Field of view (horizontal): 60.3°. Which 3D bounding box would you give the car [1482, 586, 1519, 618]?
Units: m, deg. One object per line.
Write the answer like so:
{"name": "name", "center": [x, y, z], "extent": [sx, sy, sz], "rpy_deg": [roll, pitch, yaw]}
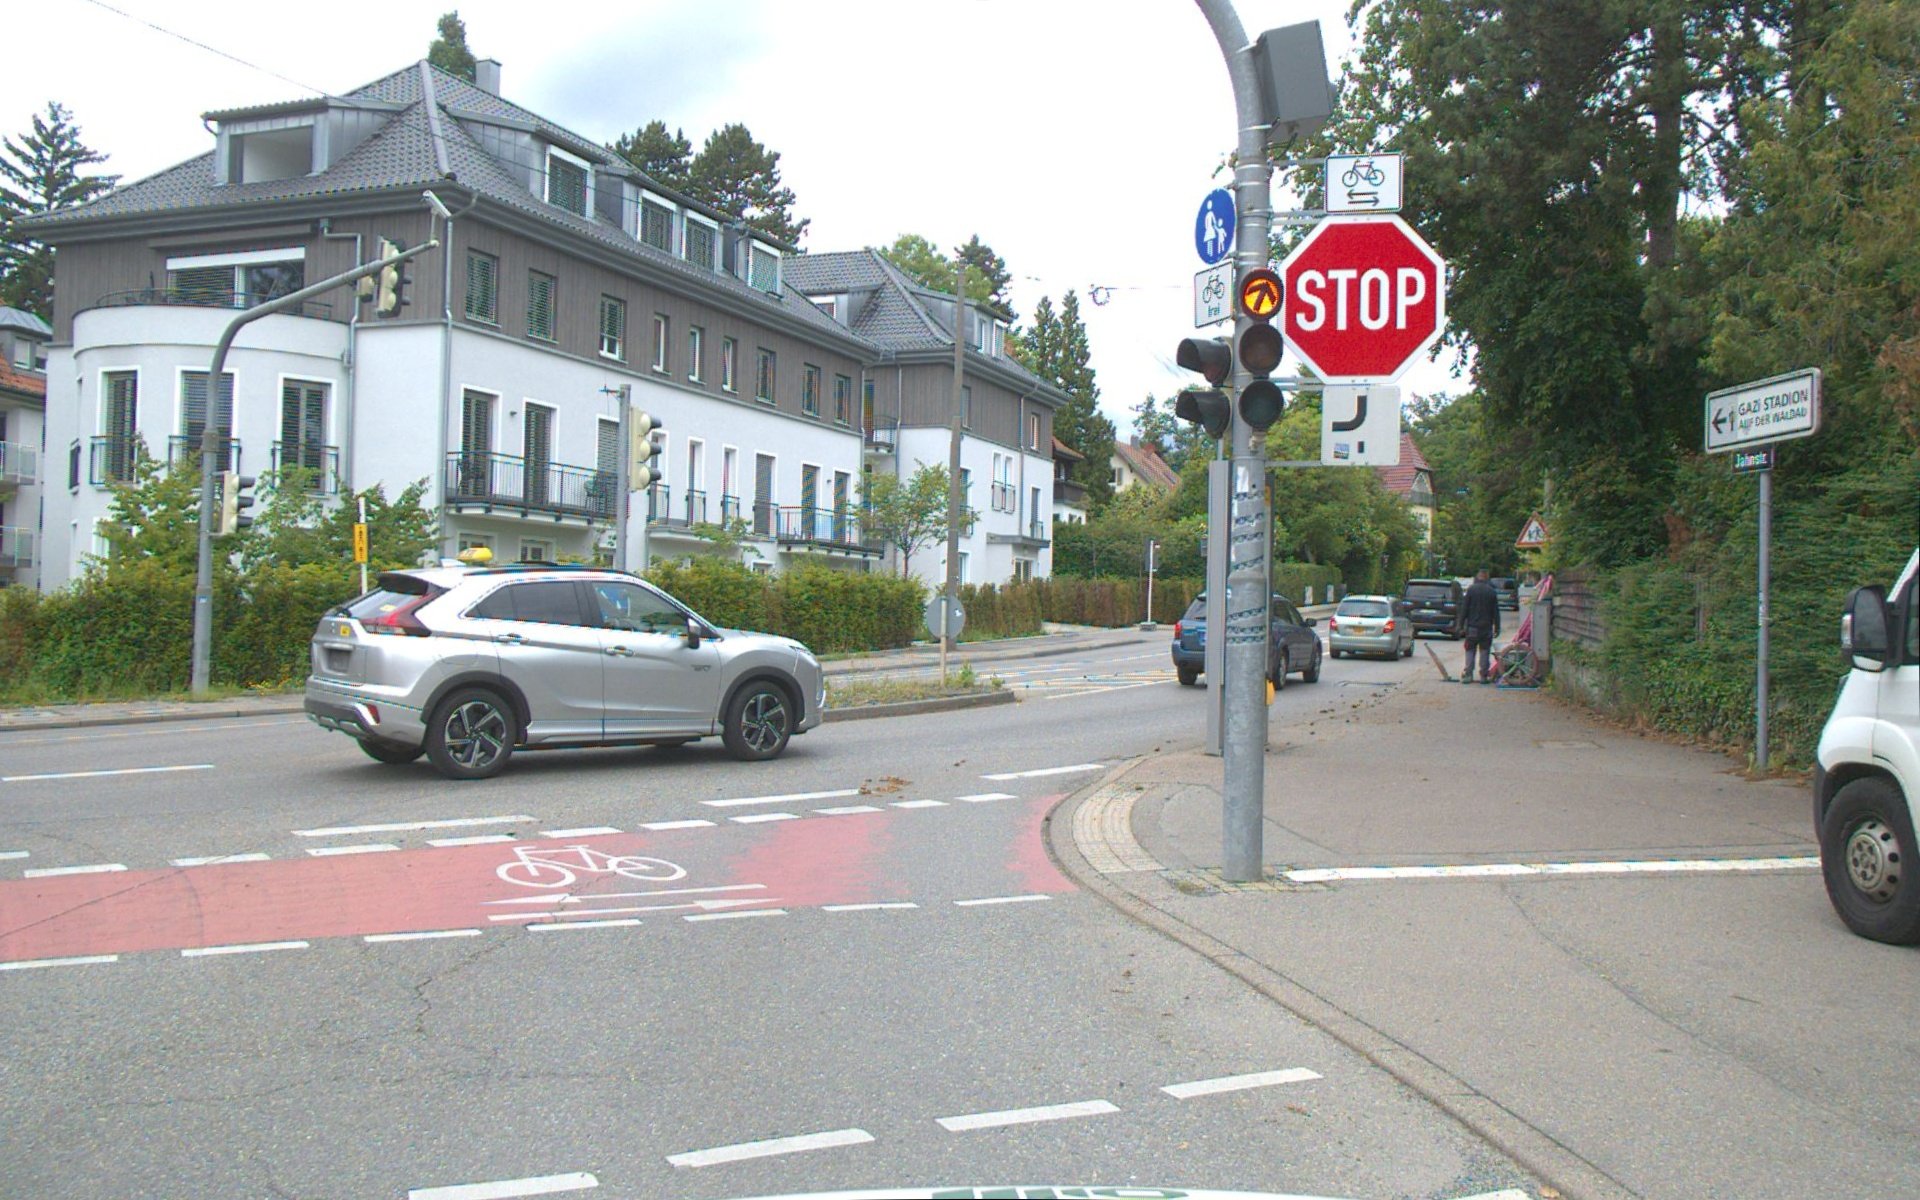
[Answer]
{"name": "car", "center": [33.478, 0.126, 102.321], "extent": [1.899, 1.857, 4.078], "rpy_deg": [2, 1, 21]}

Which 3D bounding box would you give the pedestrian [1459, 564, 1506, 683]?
{"name": "pedestrian", "center": [8.691, 0.387, 27.506], "extent": [0.584, 1.940, 0.558], "rpy_deg": [1, 0, 0]}

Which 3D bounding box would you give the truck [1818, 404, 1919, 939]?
{"name": "truck", "center": [5.142, 0.319, 5.032], "extent": [2.162, 2.283, 5.724], "rpy_deg": [1, 0, 1]}

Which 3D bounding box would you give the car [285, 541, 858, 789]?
{"name": "car", "center": [-3.167, 0.455, 14.058], "extent": [4.447, 1.784, 1.786], "rpy_deg": [-1, 0, -41]}

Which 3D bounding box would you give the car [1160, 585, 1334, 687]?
{"name": "car", "center": [4.884, 0.541, 27.638], "extent": [1.764, 1.553, 4.741], "rpy_deg": [-1, 0, 24]}

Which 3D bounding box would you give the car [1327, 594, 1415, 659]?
{"name": "car", "center": [9.892, 0.605, 39.655], "extent": [1.659, 1.455, 3.749], "rpy_deg": [-1, 0, 20]}

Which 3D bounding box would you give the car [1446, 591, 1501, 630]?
{"name": "car", "center": [21.427, 0.408, 68.945], "extent": [1.804, 1.485, 4.077], "rpy_deg": [2, 1, 22]}

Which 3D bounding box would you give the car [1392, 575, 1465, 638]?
{"name": "car", "center": [15.581, 0.192, 54.883], "extent": [1.879, 1.927, 4.909], "rpy_deg": [2, 1, 20]}
